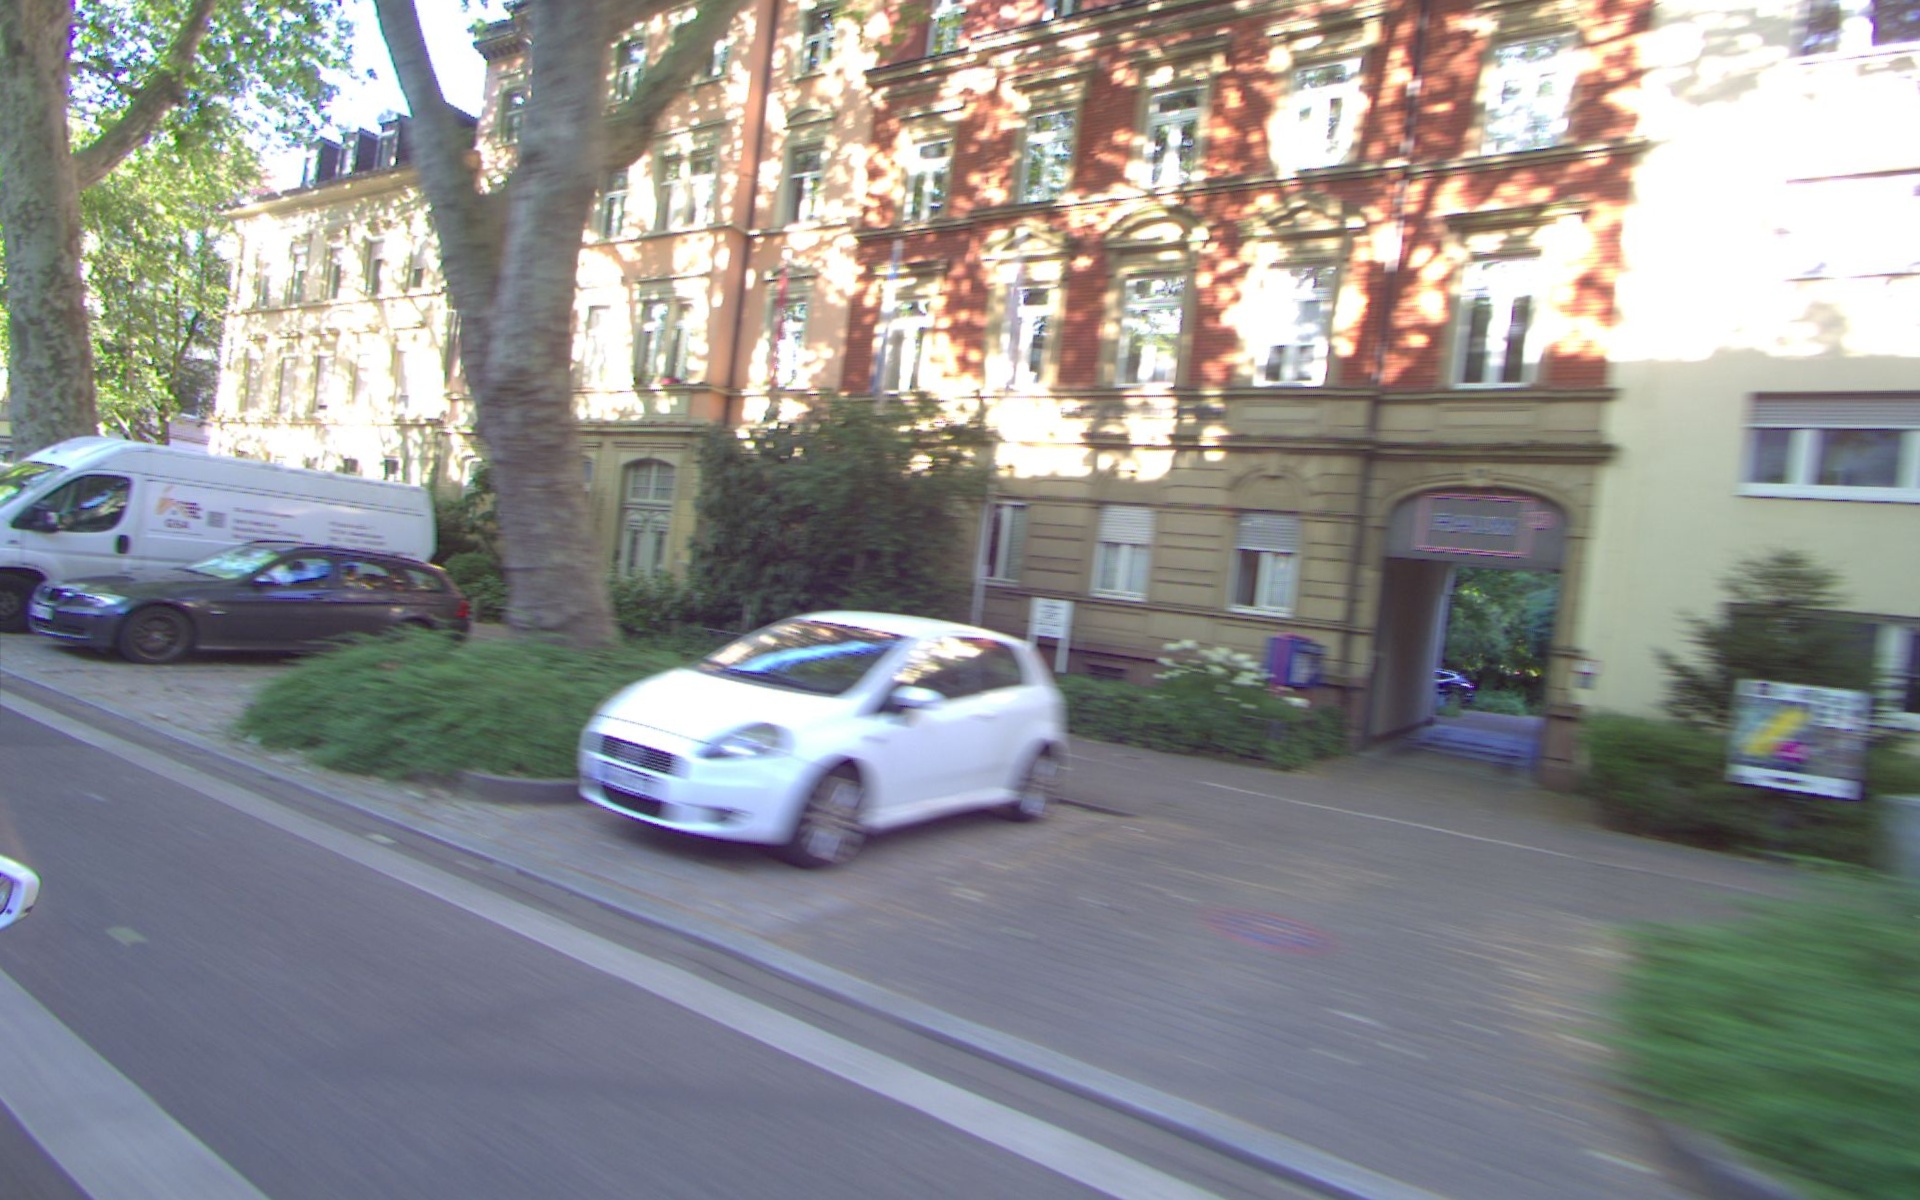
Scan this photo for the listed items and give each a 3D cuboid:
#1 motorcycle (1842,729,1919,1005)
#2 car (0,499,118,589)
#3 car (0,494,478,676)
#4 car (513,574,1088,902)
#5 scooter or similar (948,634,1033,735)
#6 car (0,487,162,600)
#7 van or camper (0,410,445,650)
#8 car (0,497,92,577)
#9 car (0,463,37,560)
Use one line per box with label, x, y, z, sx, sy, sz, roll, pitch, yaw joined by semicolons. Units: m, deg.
motorcycle;6.693;1.673;5.343;2.771;1.497;0.841;7;0;31
car;-18.466;-1.203;18.629;1.766;1.496;3.960;7;-1;31
car;-8.536;-0.057;12.322;1.753;1.569;4.398;7;-2;31
car;-0.784;0.812;7.087;1.661;1.498;3.957;7;0;33
scooter or similar;0.409;1.149;13.805;1.107;1.238;0.274;7;0;41
car;-16.243;-1.058;16.918;1.765;1.675;3.963;6;-1;29
van or camper;-10.580;-0.798;13.638;2.072;2.521;6.042;7;-1;31
car;-20.401;-1.456;20.203;1.766;1.477;4.061;7;-1;30
car;-25.839;-2.515;23.398;1.973;2.310;5.998;8;0;33
